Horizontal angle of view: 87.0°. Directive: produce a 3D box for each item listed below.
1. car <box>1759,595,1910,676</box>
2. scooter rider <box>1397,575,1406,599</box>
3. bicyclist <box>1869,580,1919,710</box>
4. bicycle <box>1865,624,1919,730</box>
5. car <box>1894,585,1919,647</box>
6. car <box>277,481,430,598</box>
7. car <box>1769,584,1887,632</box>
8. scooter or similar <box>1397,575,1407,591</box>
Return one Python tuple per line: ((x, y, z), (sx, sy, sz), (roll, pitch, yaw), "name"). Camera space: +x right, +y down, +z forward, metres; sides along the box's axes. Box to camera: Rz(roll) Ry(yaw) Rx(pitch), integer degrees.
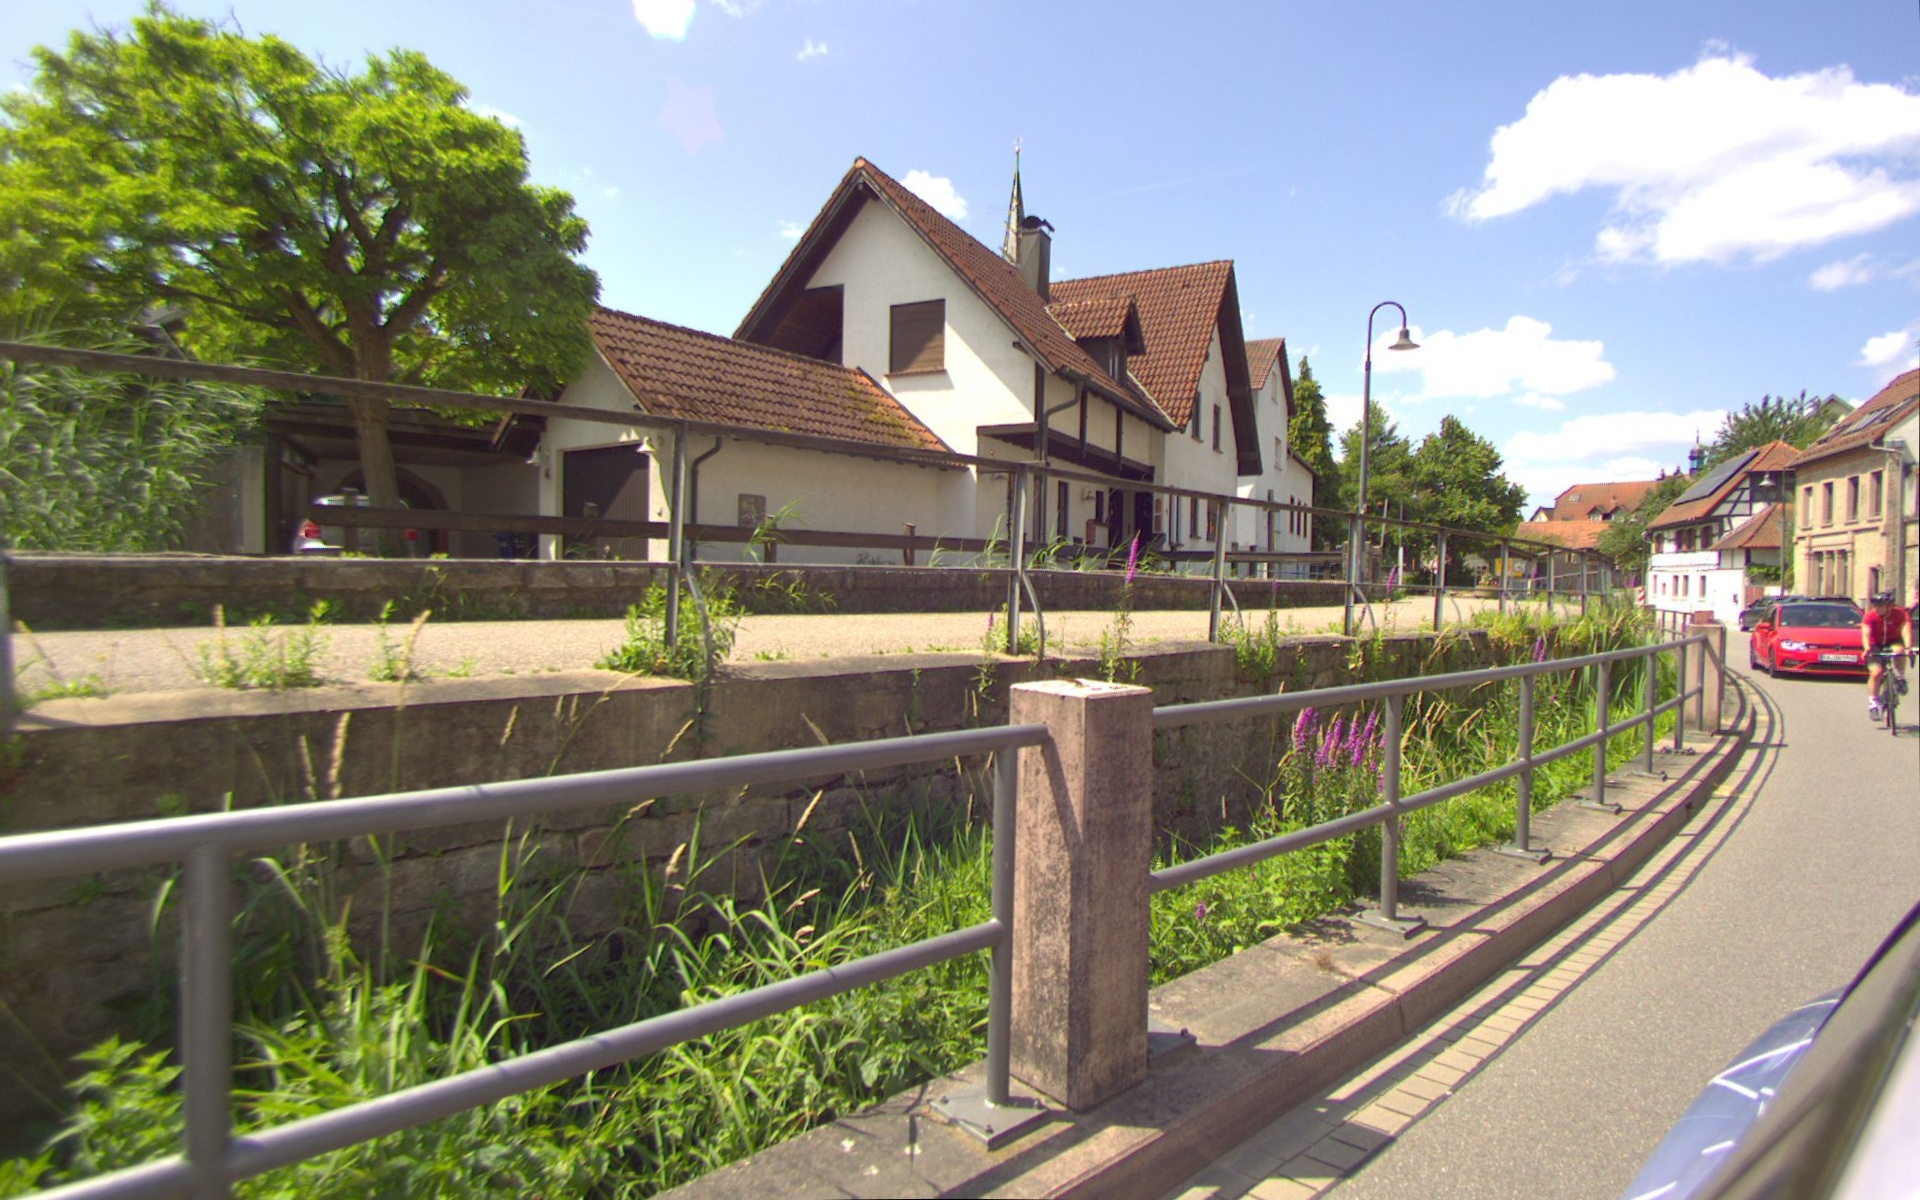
((16.315, 0.623, 19.051), (1.658, 1.369, 3.453), (0, -1, 33), "car")
((32.682, -0.974, 74.885), (0.637, 1.753, 0.549), (0, 1, 26), "scooter rider")
((10.628, 0.497, 11.408), (0.531, 1.422, 0.743), (-1, -1, 45), "bicyclist")
((10.594, 0.821, 11.374), (0.530, 1.090, 2.021), (-1, -1, 44), "bicycle")
((24.866, 0.365, 24.871), (1.705, 1.549, 3.820), (-4, -1, 27), "car")
((-9.085, -0.842, 15.408), (1.722, 1.545, 3.521), (0, 1, -27), "car")
((29.204, 0.256, 34.215), (1.872, 1.483, 4.625), (-3, -1, 26), "car")
((32.710, -1.245, 74.894), (0.637, 1.156, 1.795), (2, 2, 26), "scooter or similar")
